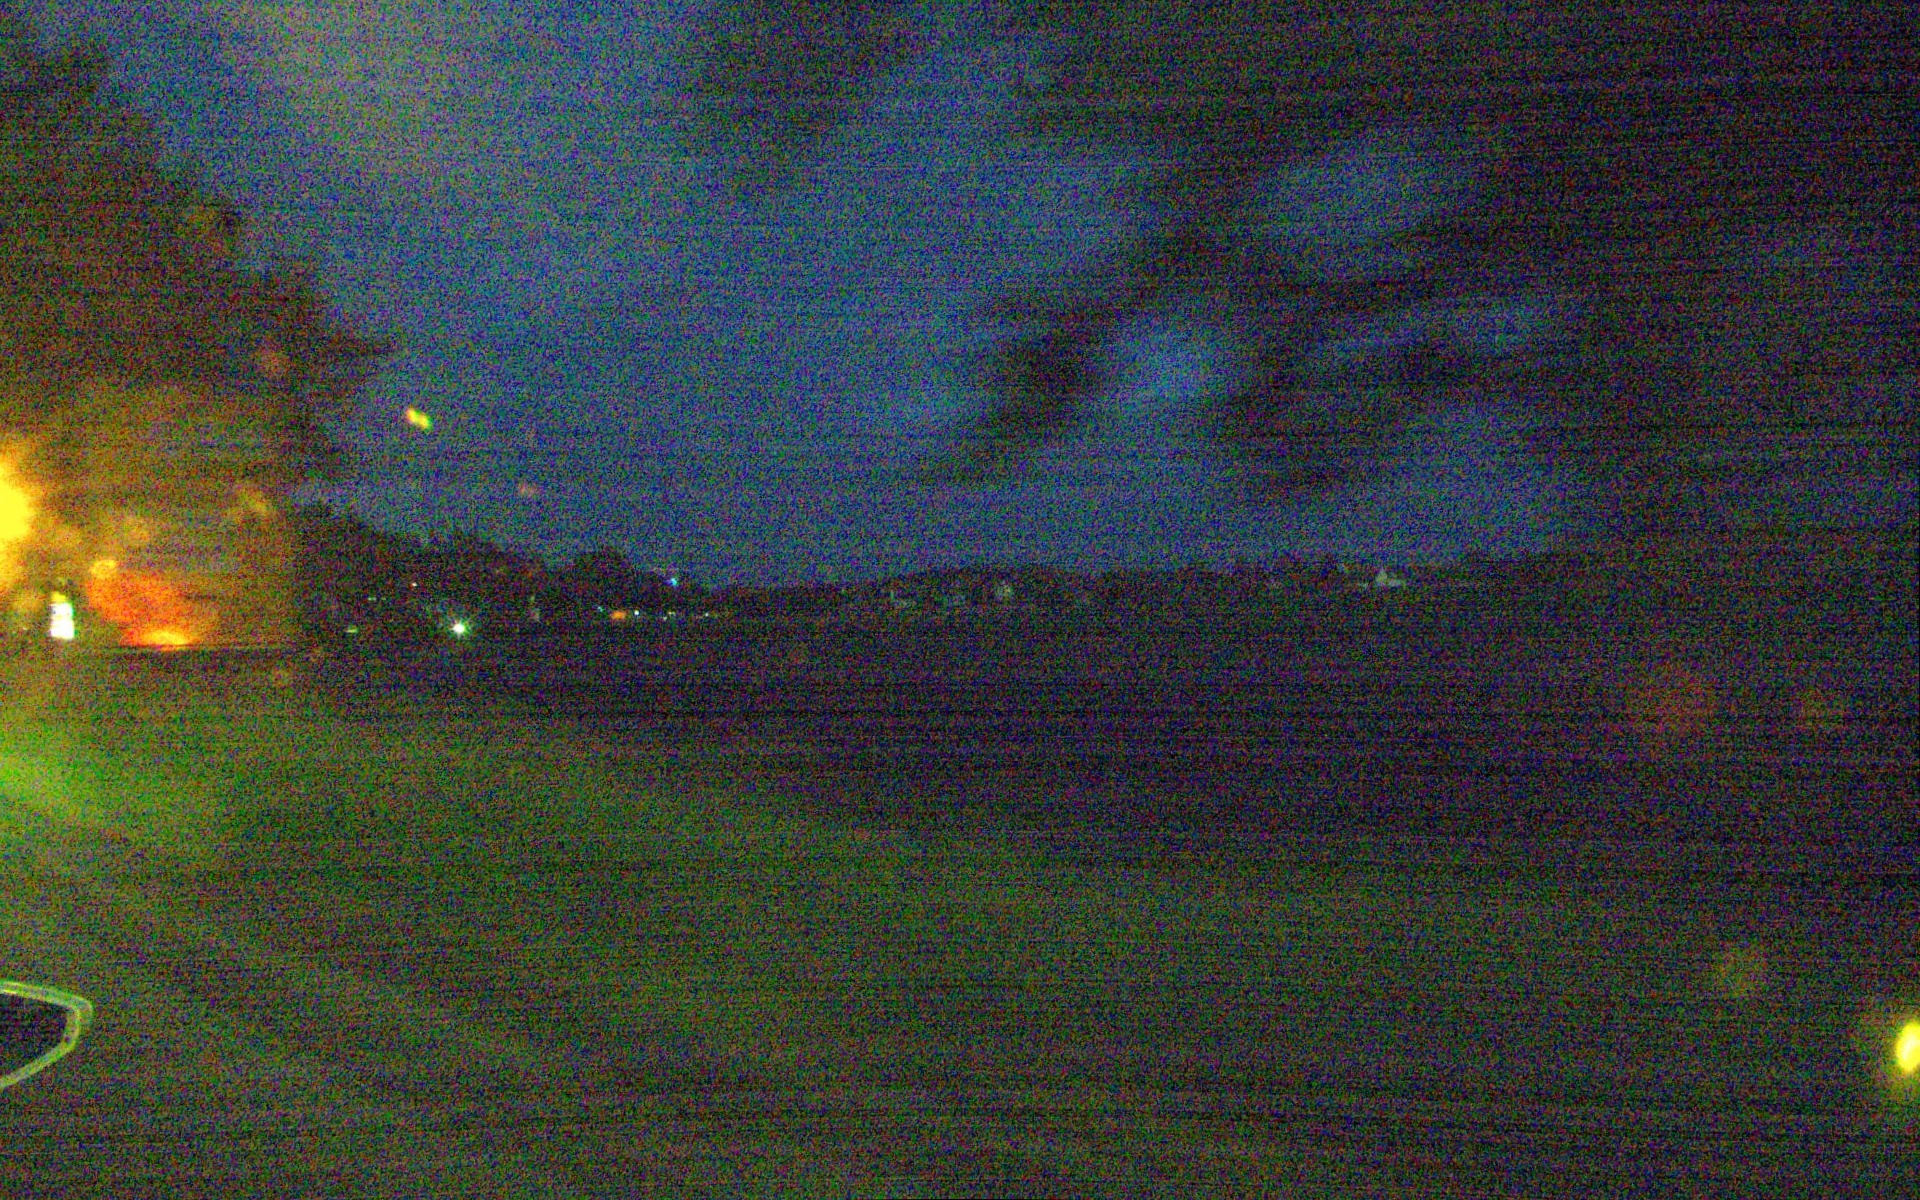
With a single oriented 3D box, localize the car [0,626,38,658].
[{"bbox_3d":[-45.296,1.972,46.783,1.736,1.464,4.514,0,-1,-22],"label":"car"}]
